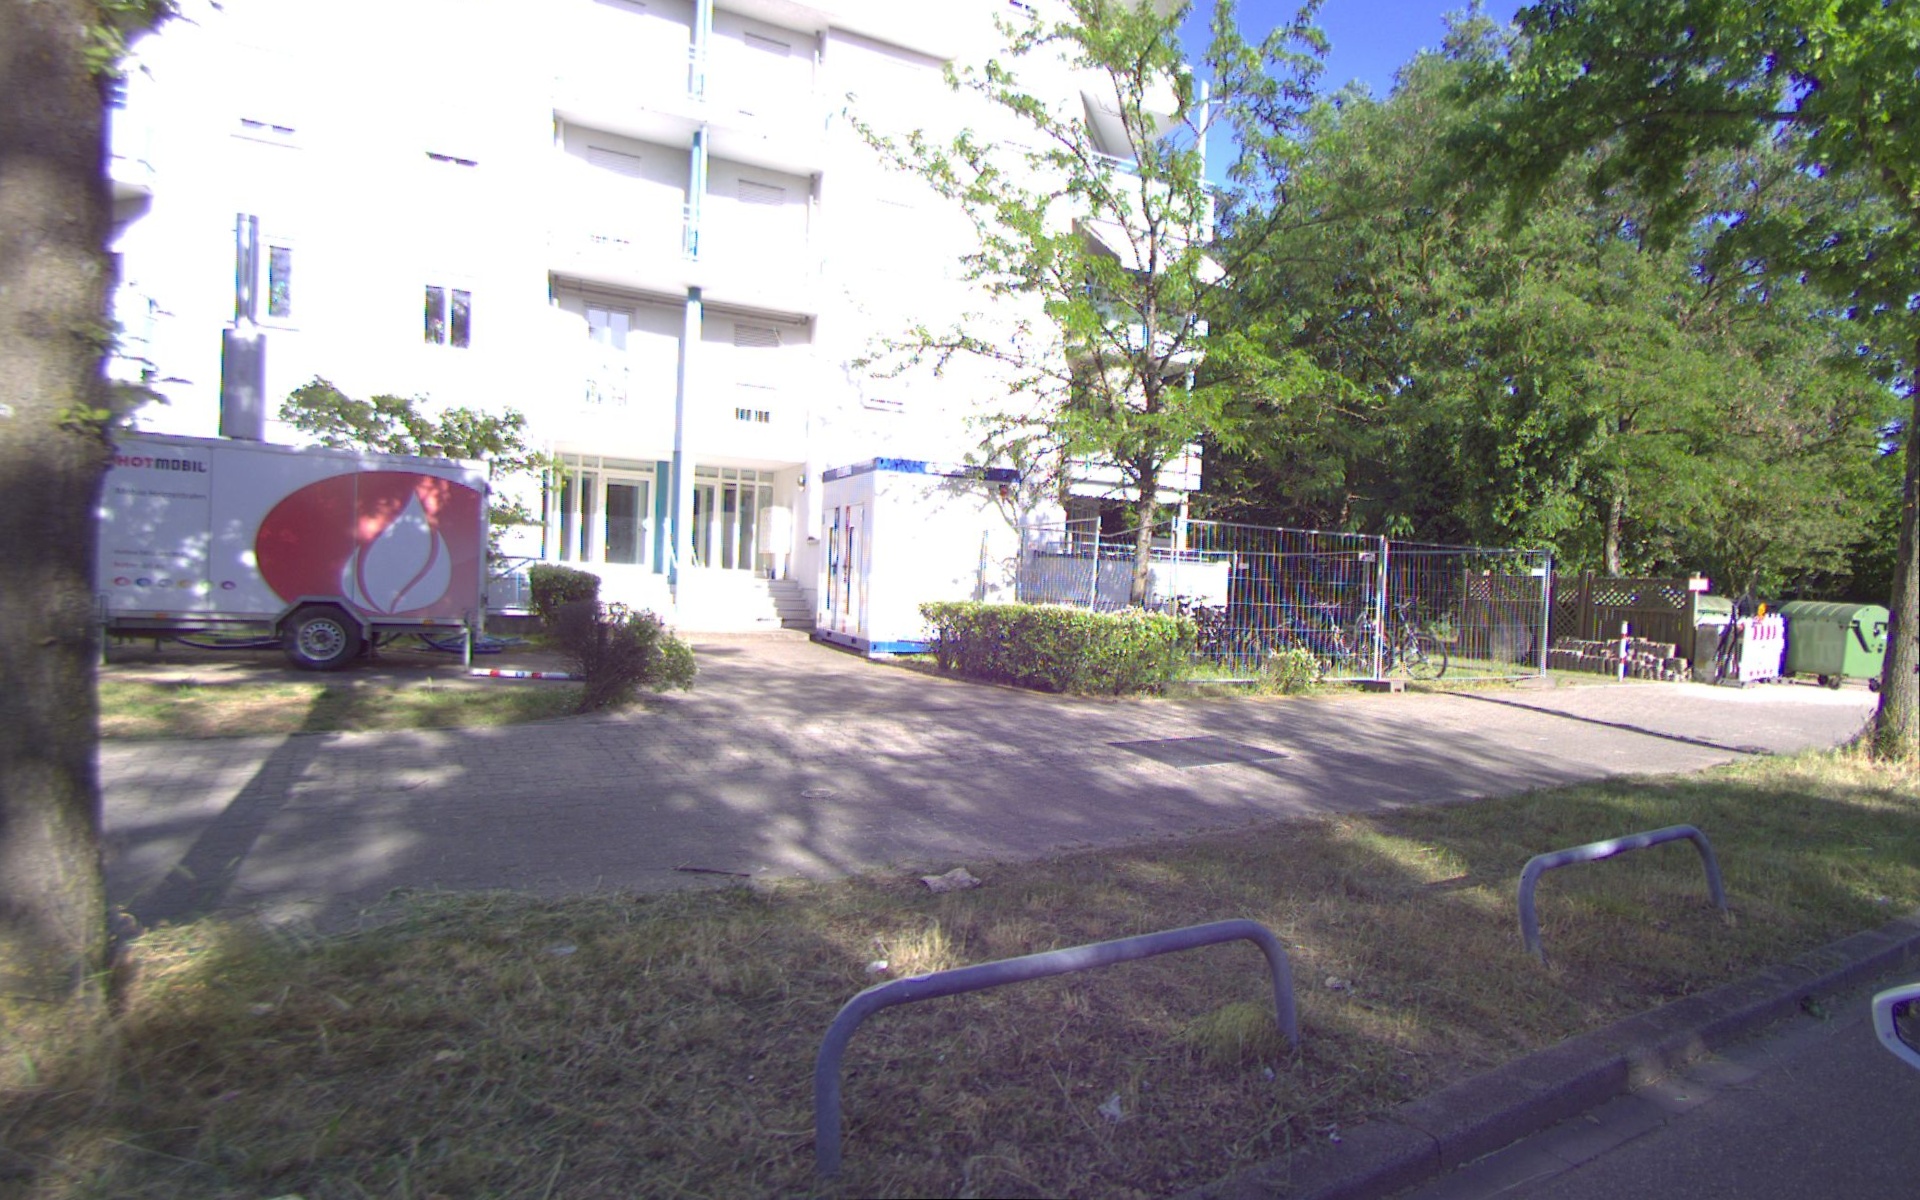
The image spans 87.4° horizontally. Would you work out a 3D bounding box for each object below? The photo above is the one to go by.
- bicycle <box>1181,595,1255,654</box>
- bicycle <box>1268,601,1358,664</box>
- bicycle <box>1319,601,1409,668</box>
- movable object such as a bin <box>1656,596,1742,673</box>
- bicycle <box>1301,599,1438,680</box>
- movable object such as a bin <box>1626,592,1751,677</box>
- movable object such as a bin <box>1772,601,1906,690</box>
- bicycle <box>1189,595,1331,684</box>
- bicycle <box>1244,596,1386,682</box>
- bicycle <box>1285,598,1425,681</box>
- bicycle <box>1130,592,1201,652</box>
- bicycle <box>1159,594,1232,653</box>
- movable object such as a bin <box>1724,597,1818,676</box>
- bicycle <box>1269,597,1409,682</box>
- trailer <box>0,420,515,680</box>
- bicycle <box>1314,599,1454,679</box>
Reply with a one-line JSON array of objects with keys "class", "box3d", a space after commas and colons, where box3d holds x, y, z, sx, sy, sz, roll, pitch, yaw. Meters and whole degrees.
[{"class": "bicycle", "box3d": [5.021, 0.458, 19.638, 0.395, 1.040, 1.690, 2, 1, -24]}, {"class": "bicycle", "box3d": [6.112, 0.568, 17.362, 1.679, 1.040, 0.397, 2, 1, -28]}, {"class": "bicycle", "box3d": [6.636, 0.578, 16.489, 1.681, 1.040, 0.397, 2, 1, -31]}, {"class": "movable object such as a bin", "box3d": [14.778, 0.661, 20.135, 1.123, 1.455, 1.272, 3, 1, 27]}, {"class": "bicycle", "box3d": [5.958, 0.546, 14.711, 0.397, 1.040, 1.821, 2, 2, -42]}, {"class": "movable object such as a bin", "box3d": [13.375, 0.607, 18.496, 1.300, 1.455, 1.273, 2, 1, -2]}, {"class": "movable object such as a bin", "box3d": [15.288, 0.771, 17.502, 1.161, 1.455, 1.270, 2, 1, -14]}, {"class": "bicycle", "box3d": [4.004, 0.500, 13.532, 0.397, 1.040, 1.851, 2, 2, -42]}, {"class": "bicycle", "box3d": [4.871, 0.511, 13.888, 0.397, 1.040, 1.838, 2, 2, -42]}, {"class": "bicycle", "box3d": [5.635, 0.540, 14.435, 0.397, 1.040, 1.842, 2, 2, -42]}, {"class": "bicycle", "box3d": [3.895, 0.408, 19.166, 0.395, 1.040, 1.690, 2, 1, -24]}, {"class": "bicycle", "box3d": [4.522, 0.428, 19.410, 0.395, 1.040, 1.690, 2, 1, -24]}, {"class": "movable object such as a bin", "box3d": [15.902, 0.692, 19.748, 1.123, 1.455, 1.272, 3, 1, 27]}, {"class": "bicycle", "box3d": [5.287, 0.528, 14.102, 0.397, 1.040, 1.821, 2, 2, -42]}, {"class": "trailer", "box3d": [-6.805, -0.429, 9.940, 4.289, 2.149, 1.857, 2, 3, -27]}, {"class": "bicycle", "box3d": [6.306, 0.559, 15.030, 0.397, 1.040, 1.897, 2, 2, -42]}]
